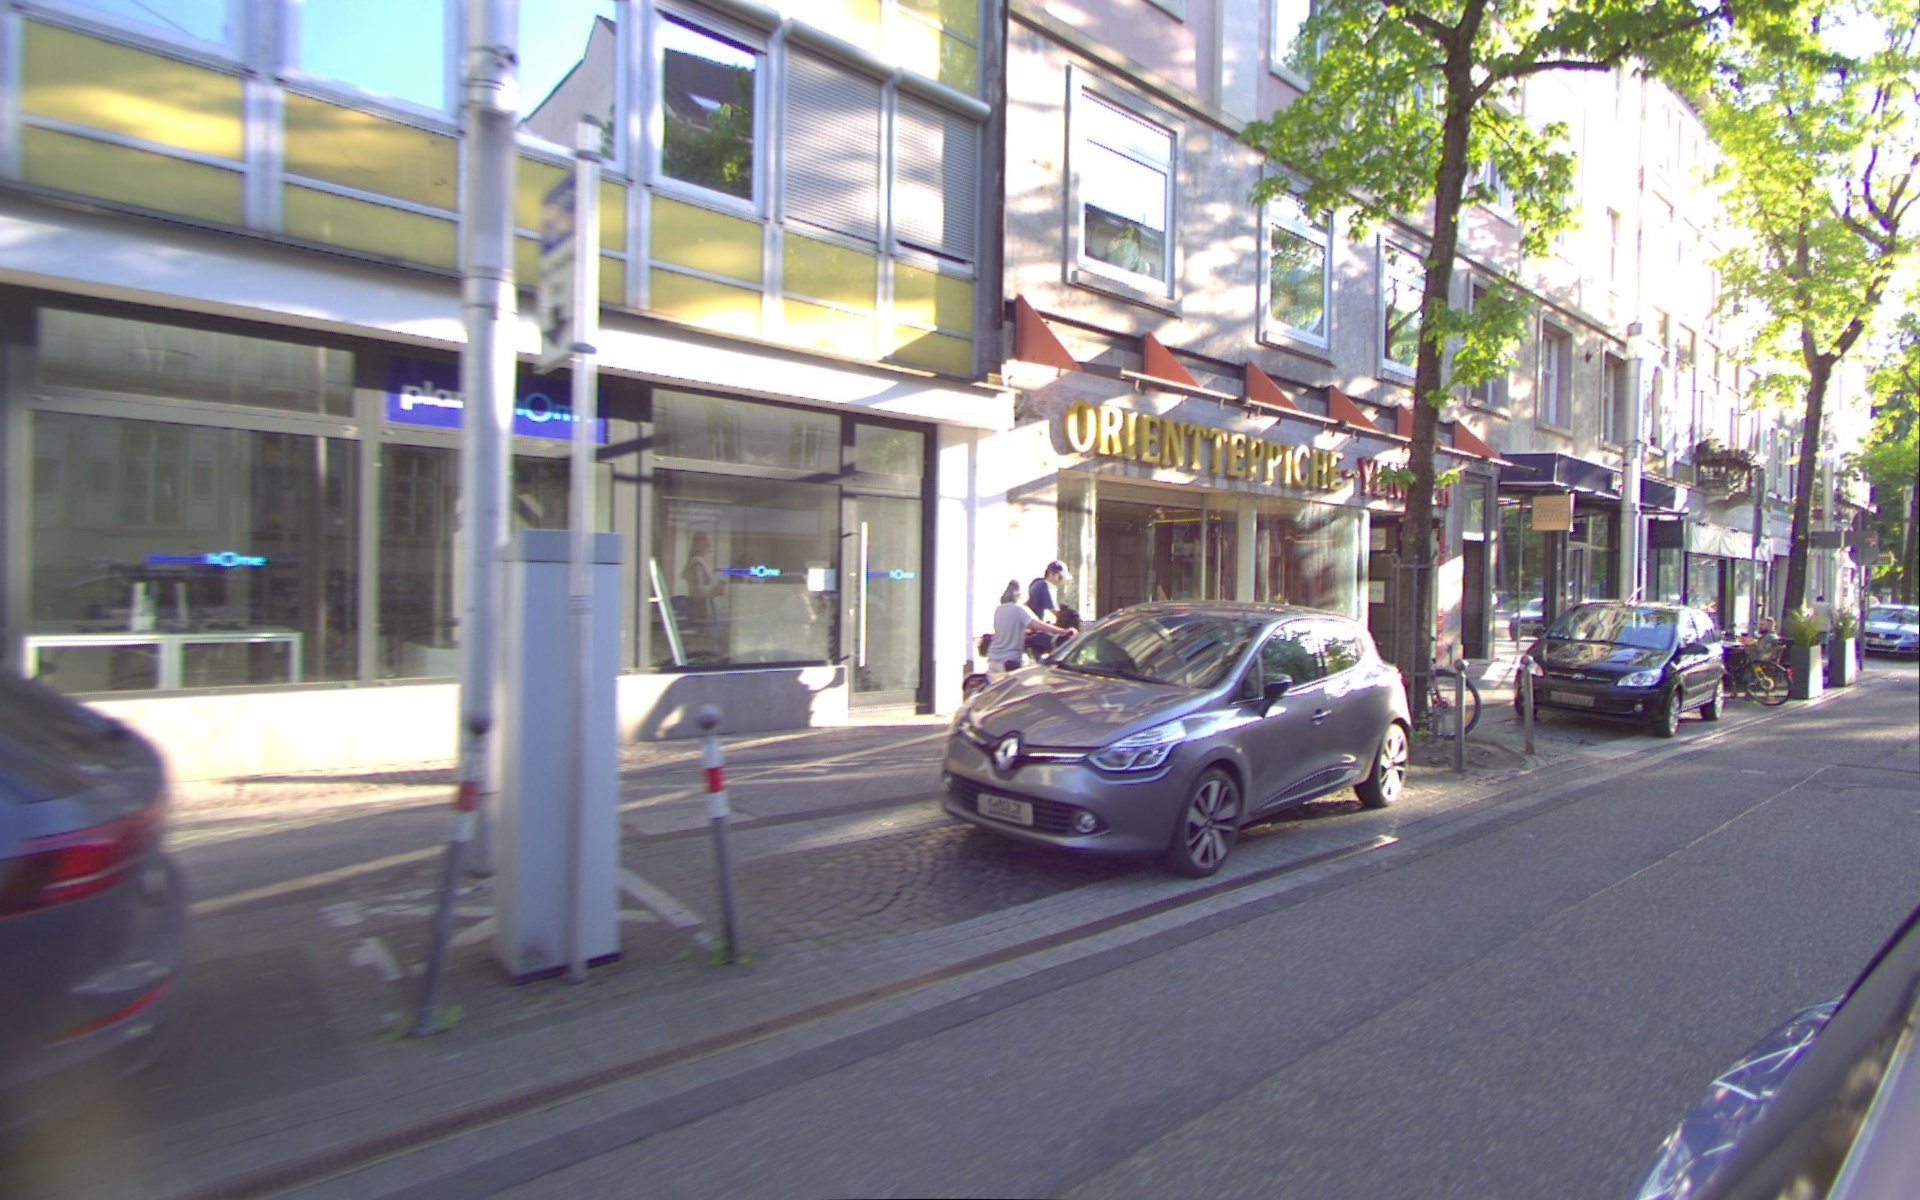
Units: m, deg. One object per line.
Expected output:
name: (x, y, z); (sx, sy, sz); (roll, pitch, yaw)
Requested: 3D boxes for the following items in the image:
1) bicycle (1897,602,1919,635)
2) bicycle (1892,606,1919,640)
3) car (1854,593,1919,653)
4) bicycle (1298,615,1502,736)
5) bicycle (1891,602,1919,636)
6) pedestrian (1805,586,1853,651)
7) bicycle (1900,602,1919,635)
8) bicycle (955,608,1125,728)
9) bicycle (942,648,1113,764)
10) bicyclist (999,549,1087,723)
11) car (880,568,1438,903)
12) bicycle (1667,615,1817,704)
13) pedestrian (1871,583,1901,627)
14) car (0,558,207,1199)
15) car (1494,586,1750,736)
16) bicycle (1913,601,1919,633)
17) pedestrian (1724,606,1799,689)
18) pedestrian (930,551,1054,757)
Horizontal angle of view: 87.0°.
bicycle: (34.783, 0.665, 36.153); (0.552, 1.169, 1.871); (0, 1, -38)
bicycle: (34.278, 0.829, 35.802); (0.552, 1.169, 1.871); (0, 1, -38)
car: (26.754, 0.604, 28.415); (4.344, 1.457, 1.780); (-1, 5, -40)
bicycle: (4.645, 0.749, 10.766); (1.853, 1.087, 0.702); (2, 2, 41)
bicycle: (33.790, 0.662, 35.303); (0.552, 1.169, 1.871); (0, 1, -38)
pedestrian: (23.057, 0.473, 26.853); (0.742, 1.663, 0.805); (0, 2, -40)
bicycle: (35.209, 0.690, 36.518); (0.341, 1.169, 1.871); (0, 1, -38)
bicycle: (0.847, 0.647, 10.363); (1.829, 1.087, 0.648); (0, 2, -42)
bicycle: (0.600, 0.857, 8.570); (1.580, 0.817, 0.467); (0, 2, -42)
bicyclist: (0.845, 0.342, 10.346); (0.589, 1.705, 0.640); (0, 1, -42)
car: (1.559, 0.616, 6.899); (1.816, 1.503, 3.936); (7, 5, 44)
bicycle: (11.807, 0.861, 15.353); (0.535, 1.152, 1.736); (1, 3, -20)
pedestrian: (43.814, 0.209, 47.903); (0.839, 2.039, 0.835); (0, 1, 29)
car: (-3.887, 0.655, 1.774); (4.033, 1.470, 1.876); (0, 3, -40)
car: (8.363, 0.623, 12.683); (3.593, 1.475, 1.803); (-1, 5, -43)
bicycle: (35.917, 0.639, 37.178); (0.454, 1.169, 1.677); (0, 1, 10)
pedestrian: (13.091, 0.759, 16.538); (0.575, 1.281, 0.820); (0, 1, -35)
pedestrian: (0.270, 0.428, 8.710); (0.688, 1.666, 0.798); (0, 1, -42)
